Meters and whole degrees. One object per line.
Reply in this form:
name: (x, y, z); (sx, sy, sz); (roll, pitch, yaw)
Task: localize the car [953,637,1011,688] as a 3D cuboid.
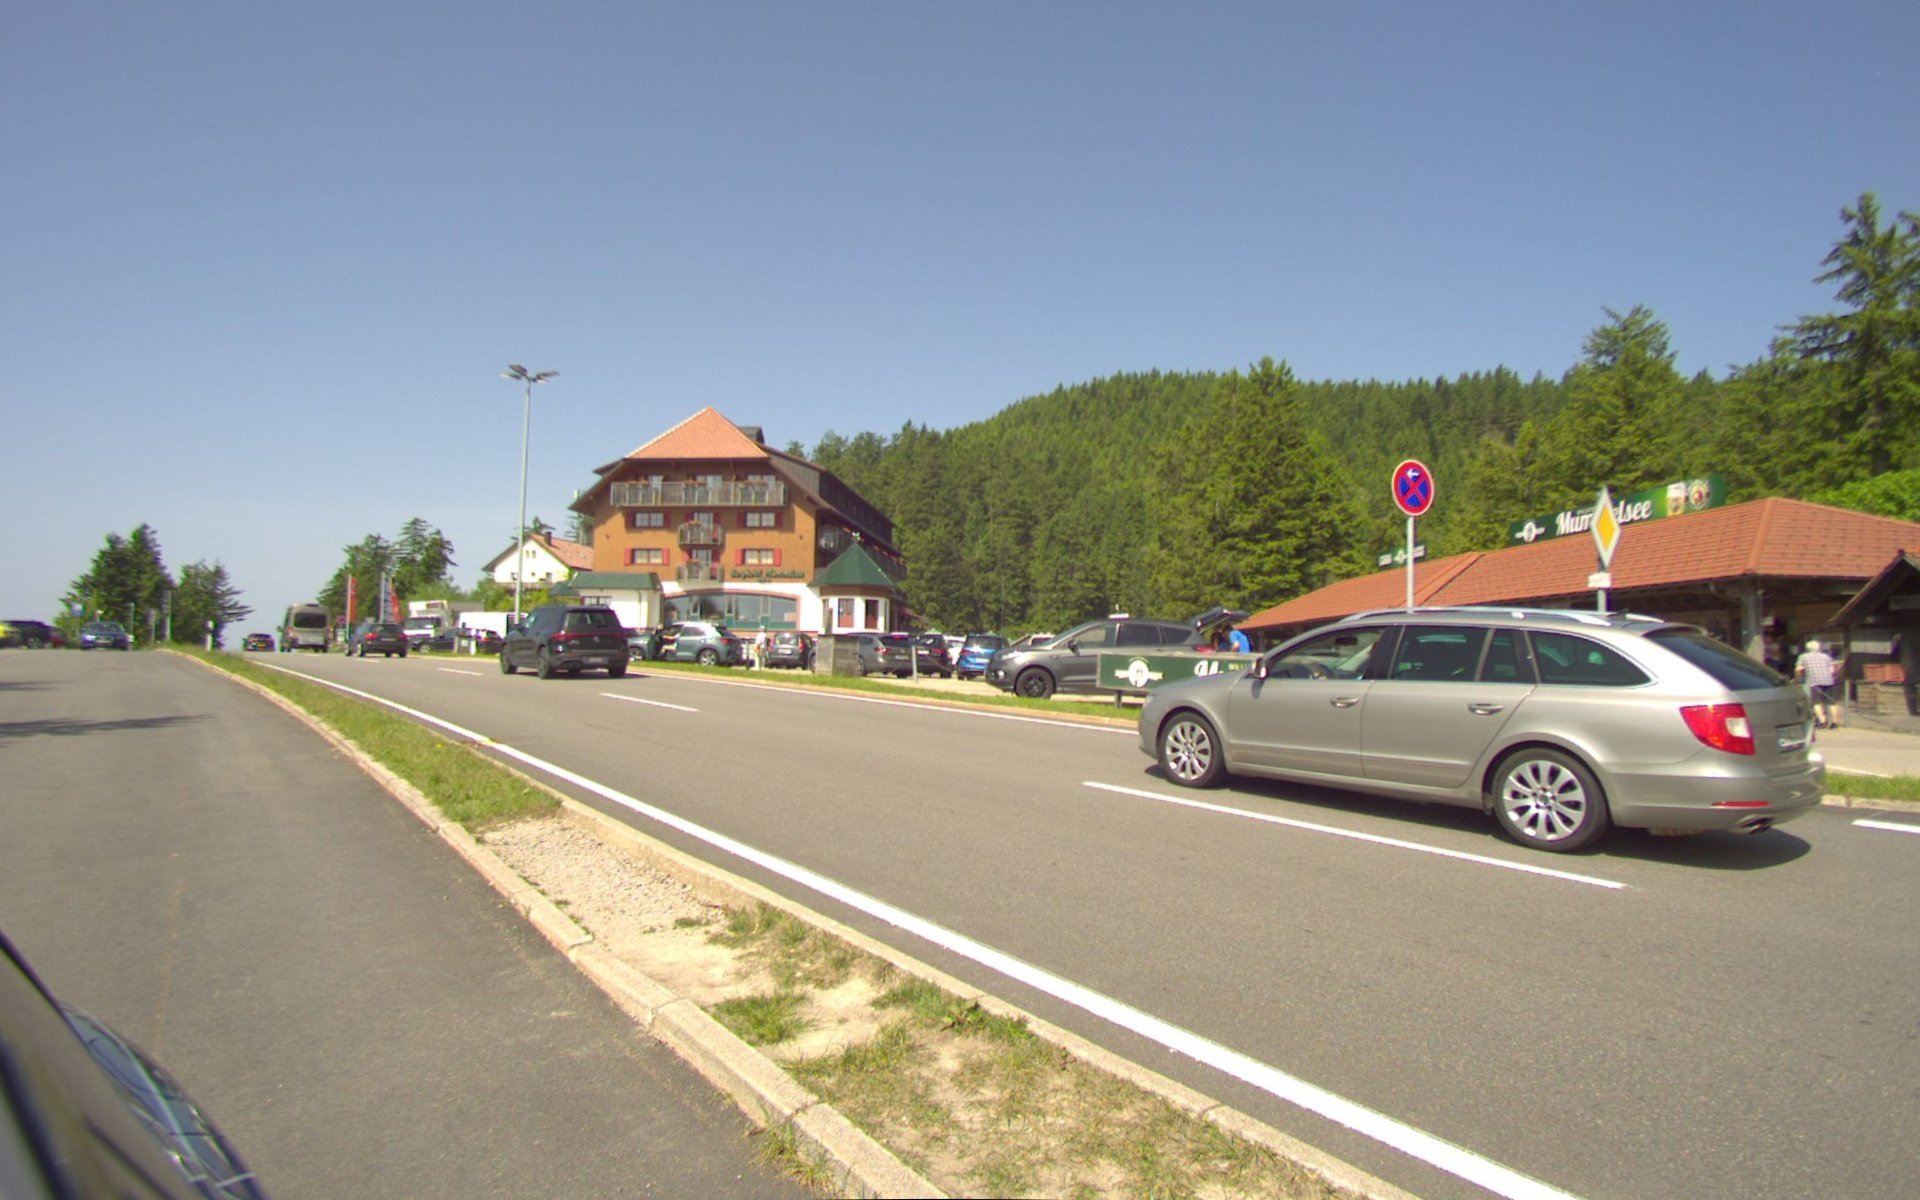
car: (0.842, 2.182, 35.949); (1.801, 1.641, 4.088); (1, -2, 5)

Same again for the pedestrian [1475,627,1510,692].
pedestrian: (16.889, 1.870, 32.108); (0.715, 2.029, 0.924); (0, -2, 10)

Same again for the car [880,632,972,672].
car: (-1.507, 2.370, 46.265); (4.040, 1.641, 1.822); (2, -2, 3)

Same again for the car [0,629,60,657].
car: (-57.475, 2.620, 61.572); (3.850, 1.627, 1.880); (3, -3, -38)

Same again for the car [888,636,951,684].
car: (-1.435, 2.186, 37.413); (1.801, 1.641, 4.088); (1, -2, 5)

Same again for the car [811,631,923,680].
car: (-3.078, 1.780, 32.889); (1.694, 1.441, 4.008); (3, -3, -38)

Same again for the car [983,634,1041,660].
car: (3.683, 3.313, 71.765); (4.042, 1.729, 1.918); (1, -2, 4)

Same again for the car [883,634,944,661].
car: (-3.266, 3.339, 71.323); (4.042, 1.729, 1.918); (1, -2, 4)

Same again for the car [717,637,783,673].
car: (-9.468, 2.464, 45.921); (1.801, 1.524, 4.088); (1, -2, 5)

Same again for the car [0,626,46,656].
car: (-53.497, 2.274, 56.204); (3.850, 1.627, 1.880); (3, -3, -38)

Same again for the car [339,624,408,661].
car: (-24.494, 1.730, 42.172); (1.685, 1.449, 4.457); (3, -3, -40)

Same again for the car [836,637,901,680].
car: (-3.500, 2.255, 39.487); (1.801, 1.524, 4.088); (1, -2, 5)

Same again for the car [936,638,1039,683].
car: (1.105, 2.420, 40.659); (4.040, 1.641, 1.822); (2, -2, 3)

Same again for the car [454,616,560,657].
car: (-33.013, 2.675, 74.030); (6.845, 2.812, 2.675); (2, -2, -22)

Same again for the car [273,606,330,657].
car: (-38.263, 1.830, 58.755); (1.986, 2.772, 5.926); (3, -3, -40)

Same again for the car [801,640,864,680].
car: (-5.289, 2.487, 42.438); (1.801, 1.524, 4.088); (1, -2, 5)

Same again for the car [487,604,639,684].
car: (-9.310, 0.991, 23.540); (1.968, 1.660, 4.575); (3, -3, -39)

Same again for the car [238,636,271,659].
car: (-55.670, 3.715, 79.832); (1.695, 1.695, 4.137); (3, -3, -40)

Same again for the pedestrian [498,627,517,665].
pedestrian: (-24.353, 2.468, 54.471); (0.706, 2.029, 0.804); (2, -3, -42)

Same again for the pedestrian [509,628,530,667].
pedestrian: (-22.862, 2.462, 52.531); (0.706, 2.029, 0.804); (2, -3, -42)

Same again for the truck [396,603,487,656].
truck: (-39.801, 2.319, 78.093); (2.841, 3.850, 9.022); (-1, -2, -3)

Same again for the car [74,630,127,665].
car: (-41.928, 2.297, 49.387); (1.847, 1.627, 3.919); (3, -3, -40)

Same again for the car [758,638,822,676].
car: (-7.391, 2.456, 44.305); (1.801, 1.524, 4.088); (1, -2, 5)

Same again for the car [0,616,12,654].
car: (-50.638, 1.714, 50.689); (4.388, 1.940, 1.880); (3, -3, -38)

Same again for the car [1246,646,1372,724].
car: (8.580, 2.035, 25.261); (1.895, 1.729, 4.090); (1, -2, 3)

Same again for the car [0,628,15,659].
car: (-52.535, 2.267, 53.291); (3.850, 1.627, 1.880); (3, -3, -38)

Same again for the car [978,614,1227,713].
car: (2.613, 1.183, 19.315); (4.490, 1.668, 1.721); (2, -2, 1)

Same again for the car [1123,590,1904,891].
car: (3.556, 0.742, 7.483); (1.854, 1.485, 4.725); (1, -1, -36)

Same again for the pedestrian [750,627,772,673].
pedestrian: (-7.234, 1.806, 36.791); (0.734, 1.637, 0.685); (2, -2, -11)

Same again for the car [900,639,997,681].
car: (-0.457, 2.536, 43.382); (4.040, 1.641, 1.822); (2, -2, 3)

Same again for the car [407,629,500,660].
car: (-27.250, 2.395, 54.547); (4.036, 1.539, 1.824); (2, -2, -1)

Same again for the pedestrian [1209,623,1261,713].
pedestrian: (5.198, 1.276, 19.168); (0.736, 1.648, 0.847); (1, -2, 0)

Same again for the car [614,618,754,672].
car: (-9.296, 1.515, 34.315); (4.214, 1.641, 1.822); (2, -2, 3)

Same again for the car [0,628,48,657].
car: (-55.191, 2.419, 58.193); (3.850, 1.627, 1.880); (3, -3, -38)

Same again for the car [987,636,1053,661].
car: (4.494, 3.601, 75.780); (4.783, 1.729, 1.918); (1, -2, 4)

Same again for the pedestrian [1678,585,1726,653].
pedestrian: (19.570, 0.507, 26.701); (0.742, 1.750, 0.800); (0, -2, 13)

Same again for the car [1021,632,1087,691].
car: (2.988, 1.964, 32.845); (1.895, 1.729, 4.091); (1, -2, 3)

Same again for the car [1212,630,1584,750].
car: (5.974, 1.214, 14.229); (4.444, 1.441, 1.720); (1, -2, 4)
